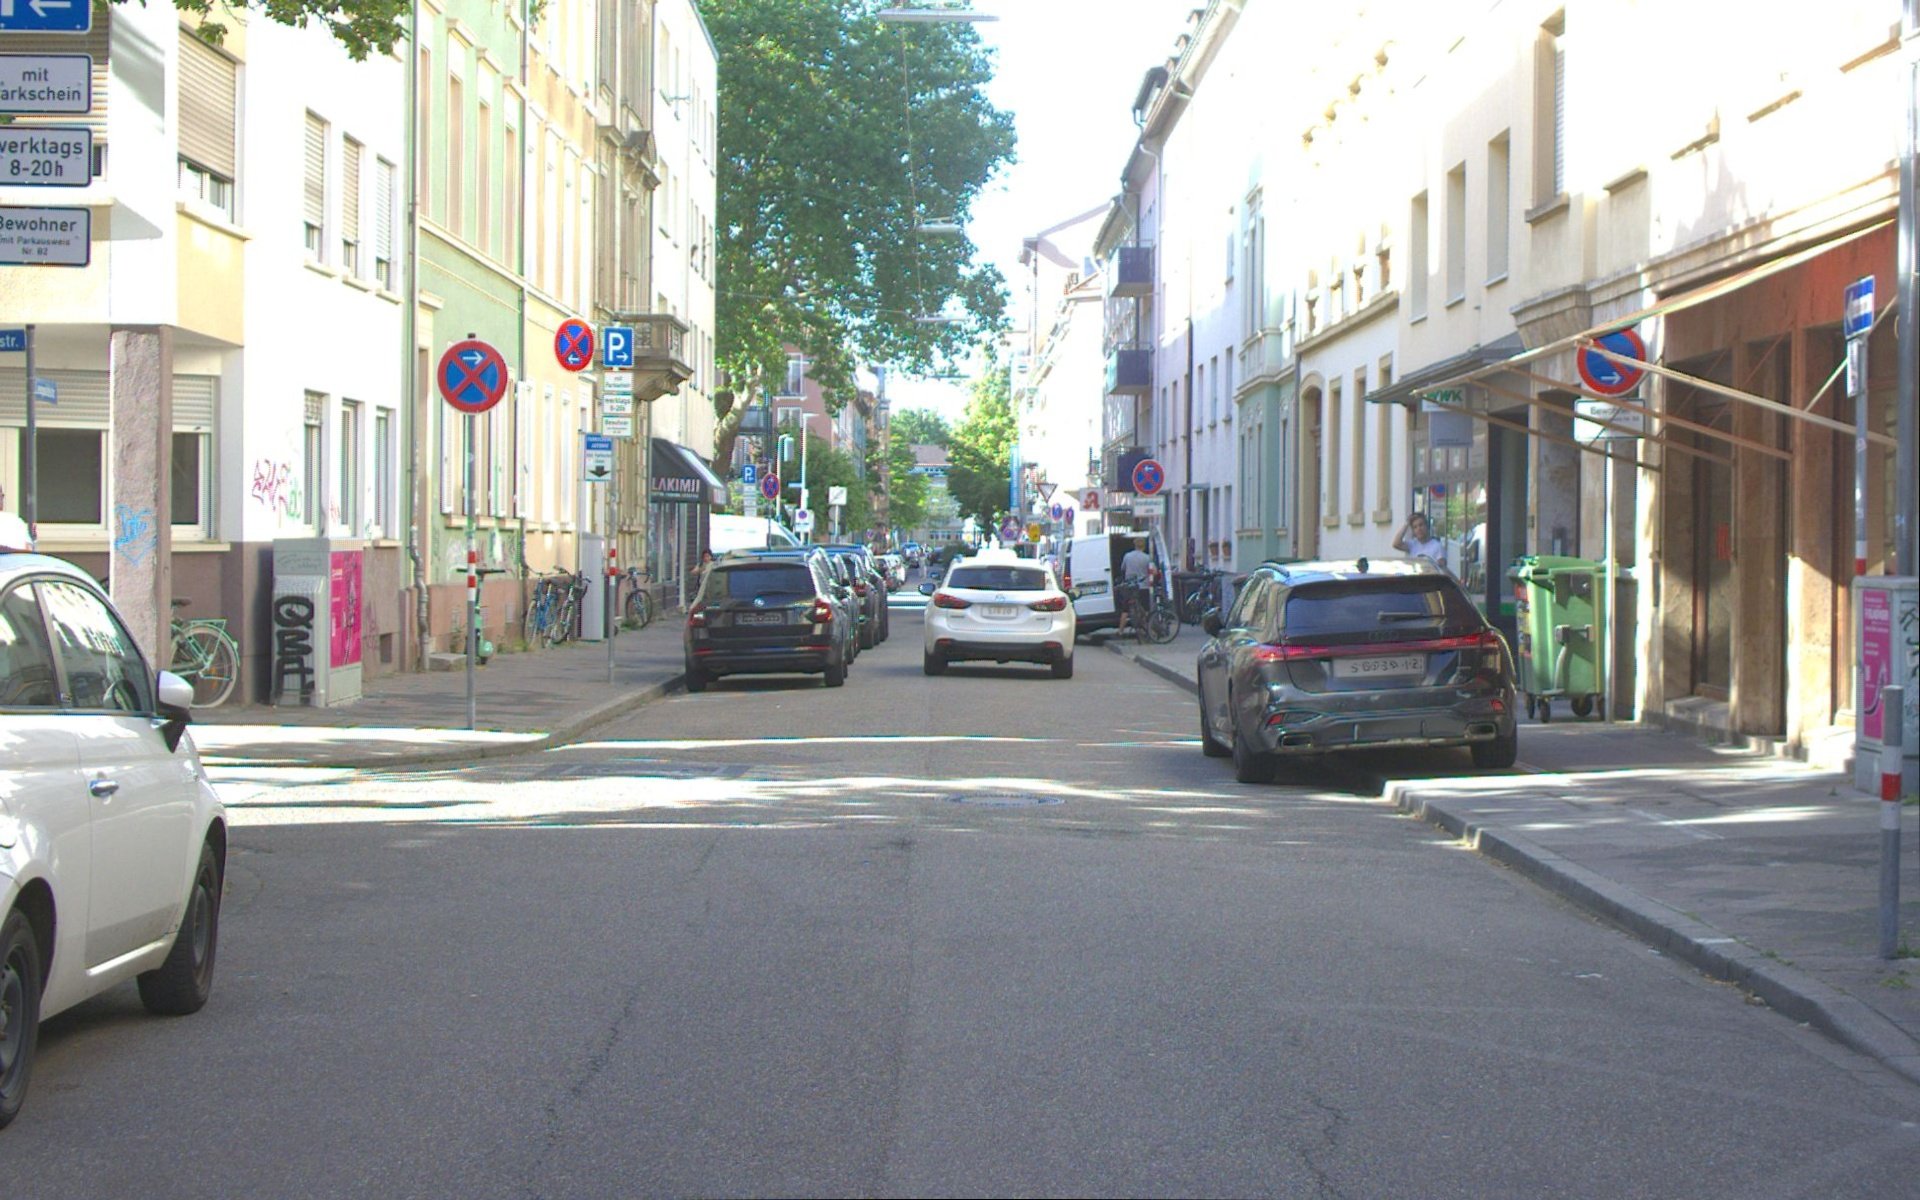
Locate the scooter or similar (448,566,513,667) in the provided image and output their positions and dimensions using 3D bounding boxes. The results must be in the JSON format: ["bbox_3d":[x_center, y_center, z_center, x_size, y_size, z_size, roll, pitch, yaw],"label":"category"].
[{"bbox_3d":[-5.722,0.195,41.068,0.454,1.177,1.691,0,0,3],"label":"scooter or similar"}]

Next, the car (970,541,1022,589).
[{"bbox_3d":[1.518,-1.496,145.349,1.942,1.941,4.079,1,1,-3],"label":"car"}]

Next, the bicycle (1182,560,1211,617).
[{"bbox_3d":[4.866,-0.238,70.755,0.569,1.149,1.868,0,0,5],"label":"bicycle"}]

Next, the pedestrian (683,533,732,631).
[{"bbox_3d":[-4.483,-0.326,61.117,0.764,1.708,0.883,2,1,-1],"label":"pedestrian"}]

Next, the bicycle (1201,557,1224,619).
[{"bbox_3d":[5.007,-0.241,68.329,0.405,1.202,2.159,0,0,3],"label":"bicycle"}]

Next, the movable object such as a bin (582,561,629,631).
[{"bbox_3d":[-5.708,-0.064,55.361,0.719,1.128,0.585,0,0,-4],"label":"movable object such as a bin"}]

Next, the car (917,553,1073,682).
[{"bbox_3d":[0.387,0.182,42.520,1.823,1.509,3.824,0,1,-1],"label":"car"}]

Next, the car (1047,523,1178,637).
[{"bbox_3d":[2.728,-0.394,62.625,1.983,1.877,5.600,-3,1,0],"label":"car"}]

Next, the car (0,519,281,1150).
[{"bbox_3d":[-3.180,0.556,9.905,1.667,1.555,3.722,0,1,1],"label":"car"}]

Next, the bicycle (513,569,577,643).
[{"bbox_3d":[-5.796,0.080,48.062,0.361,1.025,1.916,0,0,9],"label":"bicycle"}]

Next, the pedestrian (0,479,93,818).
[{"bbox_3d":[-5.445,0.257,19.151,0.910,1.826,1.245,0,0,0],"label":"pedestrian"}]

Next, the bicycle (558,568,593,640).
[{"bbox_3d":[-5.747,0.054,51.412,0.402,1.052,1.837,0,0,-3],"label":"bicycle"}]

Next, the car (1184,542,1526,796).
[{"bbox_3d":[2.663,0.407,24.226,1.801,1.573,4.897,1,1,0],"label":"car"}]

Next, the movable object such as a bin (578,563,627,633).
[{"bbox_3d":[-5.689,-0.032,54.740,0.735,1.085,0.683,0,2,-4],"label":"movable object such as a bin"}]

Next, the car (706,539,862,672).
[{"bbox_3d":[-2.268,0.030,45.242,1.744,1.609,4.603,-1,1,1],"label":"car"}]

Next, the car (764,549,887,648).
[{"bbox_3d":[-2.149,-0.050,55.804,1.713,1.526,4.367,-1,1,1],"label":"car"}]

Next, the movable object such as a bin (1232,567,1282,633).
[{"bbox_3d":[4.904,-0.002,56.831,0.797,1.092,0.642,0,0,2],"label":"movable object such as a bin"}]

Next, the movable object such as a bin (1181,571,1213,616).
[{"bbox_3d":[4.963,-0.141,72.024,0.577,0.921,0.607,-2,0,0],"label":"movable object such as a bin"}]

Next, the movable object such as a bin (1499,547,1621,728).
[{"bbox_3d":[4.948,0.294,28.424,0.746,1.431,1.372,-2,1,2],"label":"movable object such as a bin"}]

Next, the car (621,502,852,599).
[{"bbox_3d":[-6.821,-1.510,105.411,6.739,2.546,2.145,3,0,2],"label":"car"}]

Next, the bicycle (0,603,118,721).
[{"bbox_3d":[-7.493,0.491,27.363,0.404,0.894,1.581,0,2,41],"label":"bicycle"}]

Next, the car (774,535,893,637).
[{"bbox_3d":[-2.206,-0.269,61.322,1.936,1.730,5.142,-1,1,0],"label":"car"}]

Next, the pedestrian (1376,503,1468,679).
[{"bbox_3d":[4.982,-0.102,37.078,0.648,1.853,0.749,-2,1,-22],"label":"pedestrian"}]

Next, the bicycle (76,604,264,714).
[{"bbox_3d":[-6.582,0.480,28.697,0.431,0.879,1.566,3,2,40],"label":"bicycle"}]

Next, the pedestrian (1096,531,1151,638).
[{"bbox_3d":[2.811,-0.262,59.314,0.880,1.830,0.869,0,0,-2],"label":"pedestrian"}]

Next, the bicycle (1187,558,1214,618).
[{"bbox_3d":[4.882,-0.245,69.666,0.438,1.202,2.265,0,0,7],"label":"bicycle"}]

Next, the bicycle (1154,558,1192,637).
[{"bbox_3d":[3.534,-0.053,56.984,0.575,1.266,2.199,-2,1,4],"label":"bicycle"}]

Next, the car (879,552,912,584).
[{"bbox_3d":[-3.262,-1.611,174.378,1.572,1.580,3.611,0,0,1],"label":"car"}]

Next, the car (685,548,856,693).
[{"bbox_3d":[-2.111,0.192,39.383,1.713,1.483,4.852,-2,1,-1],"label":"car"}]

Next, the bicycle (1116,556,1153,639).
[{"bbox_3d":[2.881,-0.050,56.665,0.575,1.316,2.199,-1,1,4],"label":"bicycle"}]

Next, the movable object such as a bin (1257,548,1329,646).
[{"bbox_3d":[4.860,-0.037,50.236,0.837,1.385,1.297,-2,-1,-1],"label":"movable object such as a bin"}]

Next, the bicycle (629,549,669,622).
[{"bbox_3d":[-5.545,-0.259,61.356,0.510,1.272,1.867,0,0,1],"label":"bicycle"}]
